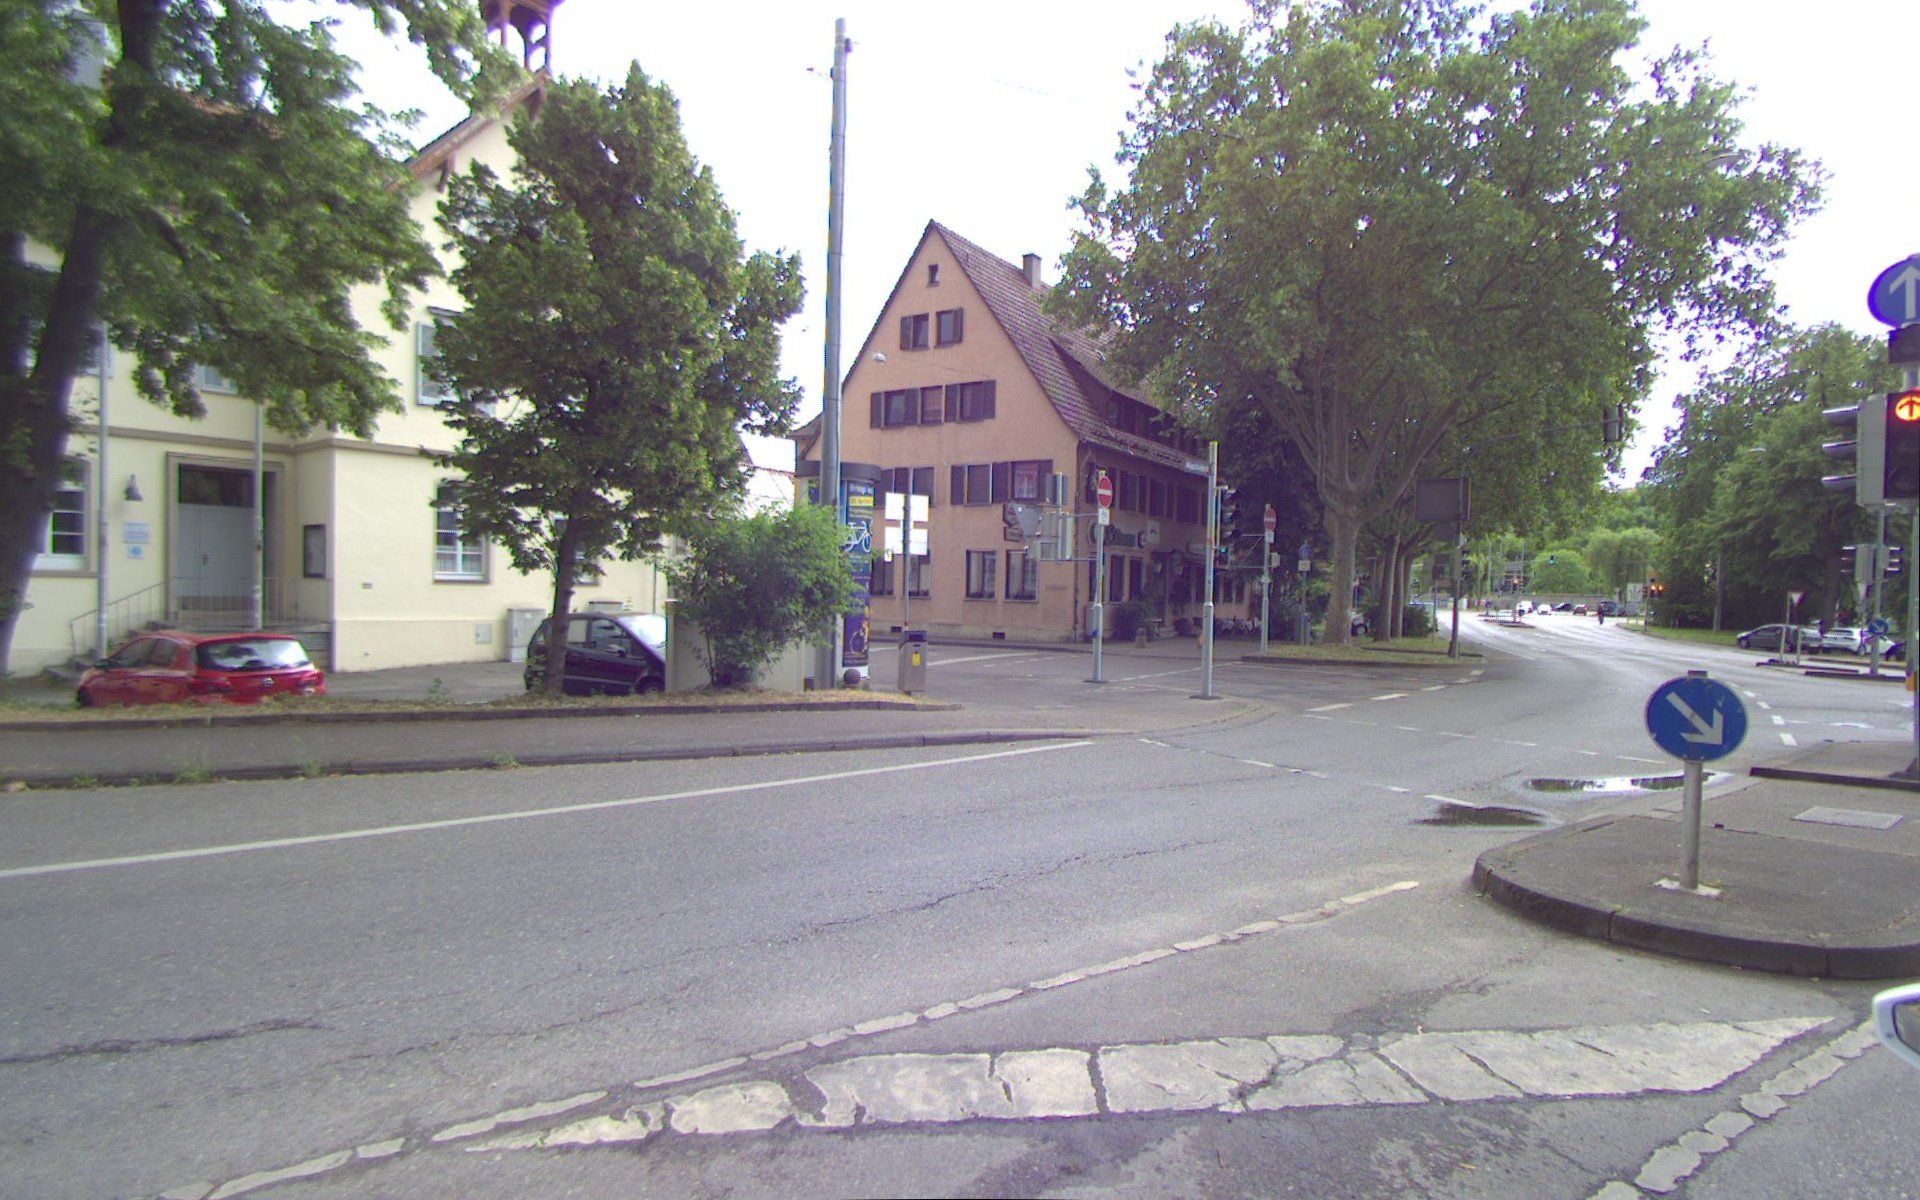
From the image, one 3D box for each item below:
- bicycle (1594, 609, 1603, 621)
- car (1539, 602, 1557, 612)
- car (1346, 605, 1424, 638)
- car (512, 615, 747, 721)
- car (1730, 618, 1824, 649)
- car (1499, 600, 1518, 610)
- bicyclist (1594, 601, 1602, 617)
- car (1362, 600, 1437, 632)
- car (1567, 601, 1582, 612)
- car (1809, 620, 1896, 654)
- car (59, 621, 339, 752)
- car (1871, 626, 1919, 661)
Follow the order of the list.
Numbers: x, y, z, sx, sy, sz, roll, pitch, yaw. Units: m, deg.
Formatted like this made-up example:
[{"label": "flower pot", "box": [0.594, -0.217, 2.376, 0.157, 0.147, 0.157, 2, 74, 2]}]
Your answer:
[{"label": "bicycle", "box": [56.357, 1.329, 88.718, 0.548, 0.971, 2.029, 2, 0, 29]}, {"label": "car", "box": [90.816, 1.061, 155.188, 1.469, 1.436, 3.028, 3, 0, 12]}, {"label": "car", "box": [24.042, 1.181, 56.822, 3.924, 1.706, 1.998, 1, 0, 25]}, {"label": "car", "box": [-5.437, 1.040, 16.519, 3.507, 1.459, 1.644, 2, 0, 26]}, {"label": "car", "box": [43.867, 1.800, 54.048, 1.592, 1.485, 3.778, 2, 0, -11]}, {"label": "car", "box": [85.574, 0.754, 156.696, 1.553, 1.506, 3.337, 3, 0, 11]}, {"label": "bicyclist", "box": [56.336, 0.816, 88.653, 0.532, 1.359, 0.713, 2, 0, 30]}, {"label": "car", "box": [25.771, 0.934, 58.900, 3.924, 1.706, 1.998, 1, 0, 25]}, {"label": "car", "box": [101.303, 1.111, 165.577, 1.964, 1.617, 3.993, 2, 0, 29]}, {"label": "car", "box": [47.512, 1.960, 53.472, 3.696, 1.662, 1.859, 2, 0, -19]}, {"label": "car", "box": [-10.153, 1.044, 13.368, 3.653, 1.401, 1.659, 2, 0, 30]}, {"label": "car", "box": [39.512, 1.799, 40.900, 1.746, 1.370, 3.326, 2, 0, -2]}]
